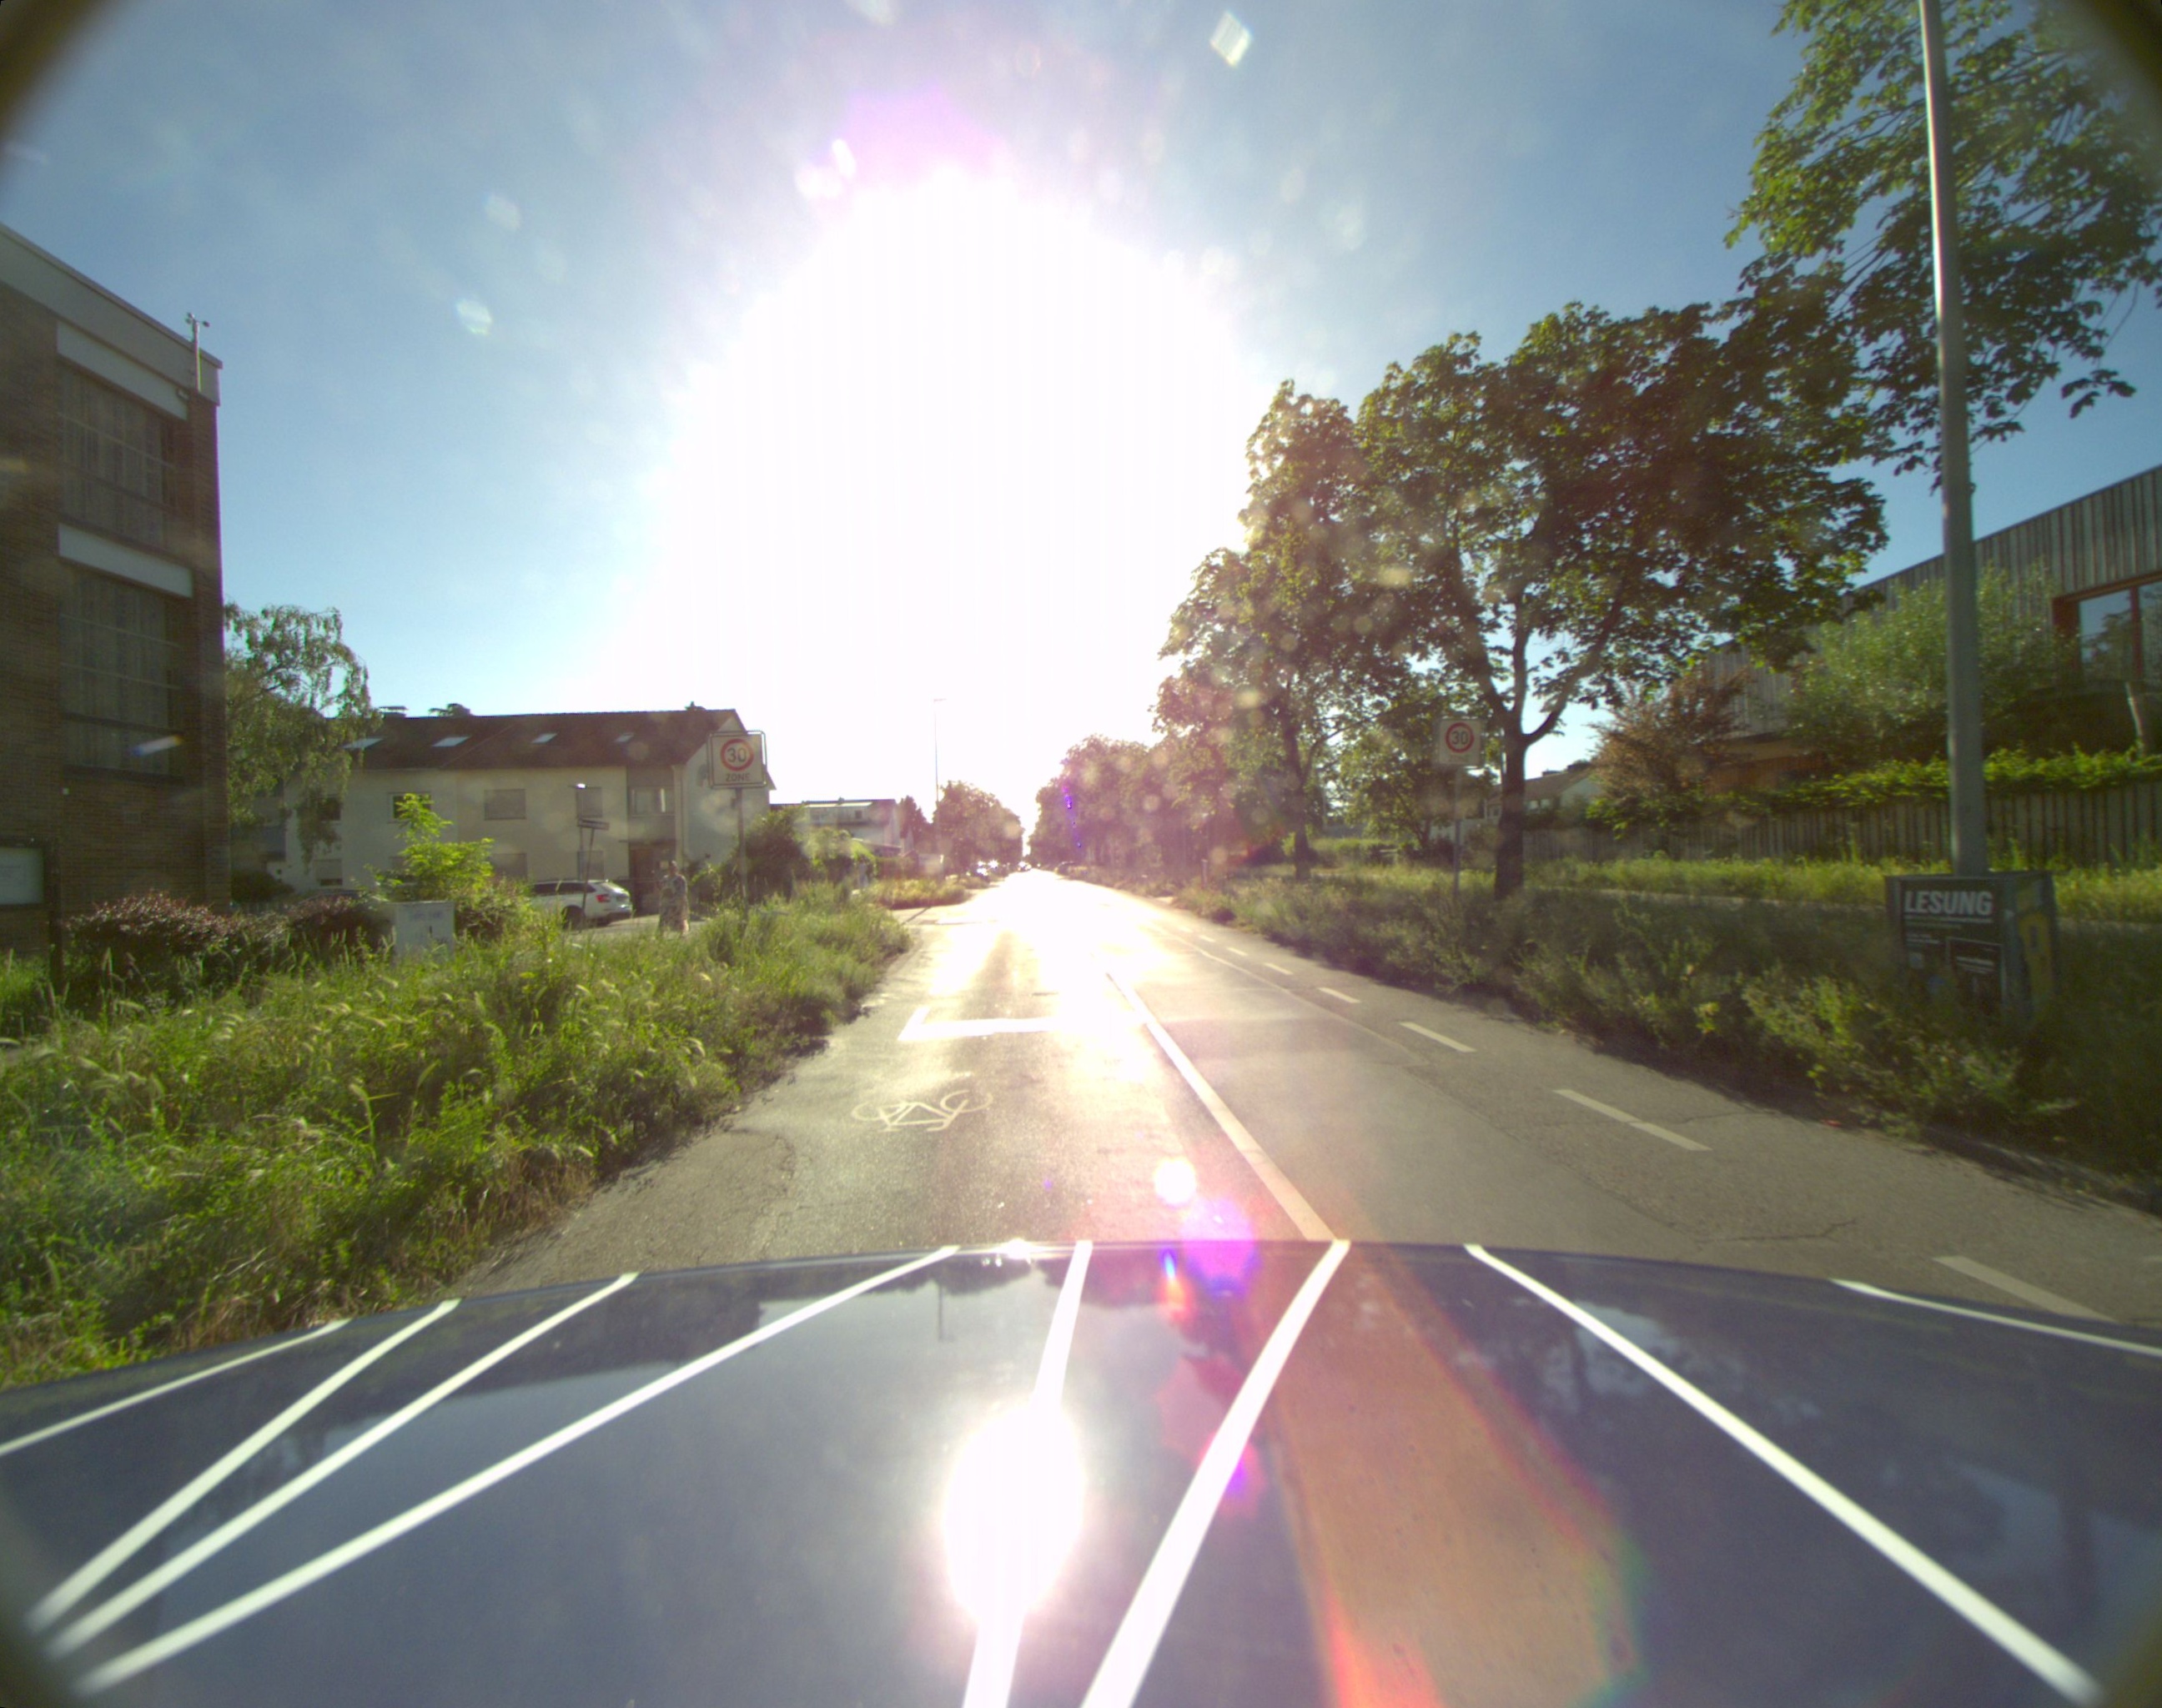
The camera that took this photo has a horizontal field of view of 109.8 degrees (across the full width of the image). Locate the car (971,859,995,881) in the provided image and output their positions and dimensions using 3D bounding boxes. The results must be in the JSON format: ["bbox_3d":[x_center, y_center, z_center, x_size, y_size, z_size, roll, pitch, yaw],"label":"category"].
[{"bbox_3d":[-7.438,1.221,57.848,1.497,1.564,3.599,-2,0,-4],"label":"car"}]

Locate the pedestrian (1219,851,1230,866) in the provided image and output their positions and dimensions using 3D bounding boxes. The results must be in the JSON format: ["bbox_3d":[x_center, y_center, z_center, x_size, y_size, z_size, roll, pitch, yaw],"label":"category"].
[{"bbox_3d":[11.568,0.396,61.105,0.640,1.151,0.521,-5,1,-5],"label":"pedestrian"}]

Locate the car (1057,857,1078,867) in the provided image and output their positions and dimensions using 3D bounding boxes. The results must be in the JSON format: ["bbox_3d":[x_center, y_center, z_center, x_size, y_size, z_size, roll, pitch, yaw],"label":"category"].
[{"bbox_3d":[-2.644,1.499,149.898,3.999,1.740,1.890,-3,1,-5],"label":"car"}]

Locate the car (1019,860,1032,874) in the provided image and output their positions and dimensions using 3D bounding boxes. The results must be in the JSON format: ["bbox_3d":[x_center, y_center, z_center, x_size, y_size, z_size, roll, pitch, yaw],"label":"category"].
[{"bbox_3d":[-9.183,2.149,126.816,1.999,2.002,3.998,-3,0,-4],"label":"car"}]

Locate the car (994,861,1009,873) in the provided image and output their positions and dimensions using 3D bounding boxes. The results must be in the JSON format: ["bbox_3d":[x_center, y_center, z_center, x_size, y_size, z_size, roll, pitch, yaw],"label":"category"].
[{"bbox_3d":[-9.921,1.661,95.520,1.733,1.473,3.856,-1,-1,-4],"label":"car"}]

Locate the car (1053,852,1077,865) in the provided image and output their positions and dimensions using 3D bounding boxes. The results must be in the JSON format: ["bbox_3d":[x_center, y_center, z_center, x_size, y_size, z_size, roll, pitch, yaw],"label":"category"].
[{"bbox_3d":[-3.495,1.012,165.883,5.123,2.597,2.125,-3,1,-1],"label":"car"}]

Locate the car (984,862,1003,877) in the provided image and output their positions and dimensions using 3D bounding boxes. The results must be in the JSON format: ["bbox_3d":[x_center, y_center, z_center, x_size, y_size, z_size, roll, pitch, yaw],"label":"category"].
[{"bbox_3d":[-9.775,1.686,85.202,1.733,1.568,3.857,-1,0,-1],"label":"car"}]

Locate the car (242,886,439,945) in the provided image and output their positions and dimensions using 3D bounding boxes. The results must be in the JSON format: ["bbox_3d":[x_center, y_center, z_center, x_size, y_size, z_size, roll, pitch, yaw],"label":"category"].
[{"bbox_3d":[-22.008,1.795,22.705,3.954,1.493,1.806,-2,-1,-4],"label":"car"}]

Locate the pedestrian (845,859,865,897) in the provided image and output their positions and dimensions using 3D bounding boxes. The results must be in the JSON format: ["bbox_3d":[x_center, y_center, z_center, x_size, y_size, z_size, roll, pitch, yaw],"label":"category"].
[{"bbox_3d":[-10.799,1.138,36.273,0.606,1.722,0.640,-3,1,12],"label":"pedestrian"}]

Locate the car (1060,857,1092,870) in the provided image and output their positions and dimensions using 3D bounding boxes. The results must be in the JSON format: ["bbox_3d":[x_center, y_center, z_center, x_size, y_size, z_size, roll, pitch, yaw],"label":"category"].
[{"bbox_3d":[-0.670,1.289,103.502,4.205,1.552,1.999,-3,0,-3],"label":"car"}]

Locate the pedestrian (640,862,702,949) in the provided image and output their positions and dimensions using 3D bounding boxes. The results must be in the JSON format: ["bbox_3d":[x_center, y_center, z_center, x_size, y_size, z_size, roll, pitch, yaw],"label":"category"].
[{"bbox_3d":[-8.967,1.100,16.653,0.902,1.811,0.736,-3,1,-9],"label":"pedestrian"}]

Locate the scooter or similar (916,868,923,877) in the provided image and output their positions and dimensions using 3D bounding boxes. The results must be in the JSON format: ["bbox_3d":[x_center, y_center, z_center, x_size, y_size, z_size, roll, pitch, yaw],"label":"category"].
[{"bbox_3d":[-14.647,1.666,68.991,0.450,0.712,1.228,2,0,-5],"label":"scooter or similar"}]

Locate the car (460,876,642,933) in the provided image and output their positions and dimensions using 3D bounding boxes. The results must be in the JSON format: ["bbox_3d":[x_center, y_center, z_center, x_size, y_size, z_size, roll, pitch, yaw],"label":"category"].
[{"bbox_3d":[-16.110,1.509,23.274,4.206,1.493,1.806,-2,-1,-4],"label":"car"}]

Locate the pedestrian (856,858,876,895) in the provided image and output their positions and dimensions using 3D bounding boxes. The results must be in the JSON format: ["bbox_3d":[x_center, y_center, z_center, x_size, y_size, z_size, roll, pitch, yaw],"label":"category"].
[{"bbox_3d":[-10.216,1.081,36.145,0.555,1.722,0.662,-3,1,12],"label":"pedestrian"}]
